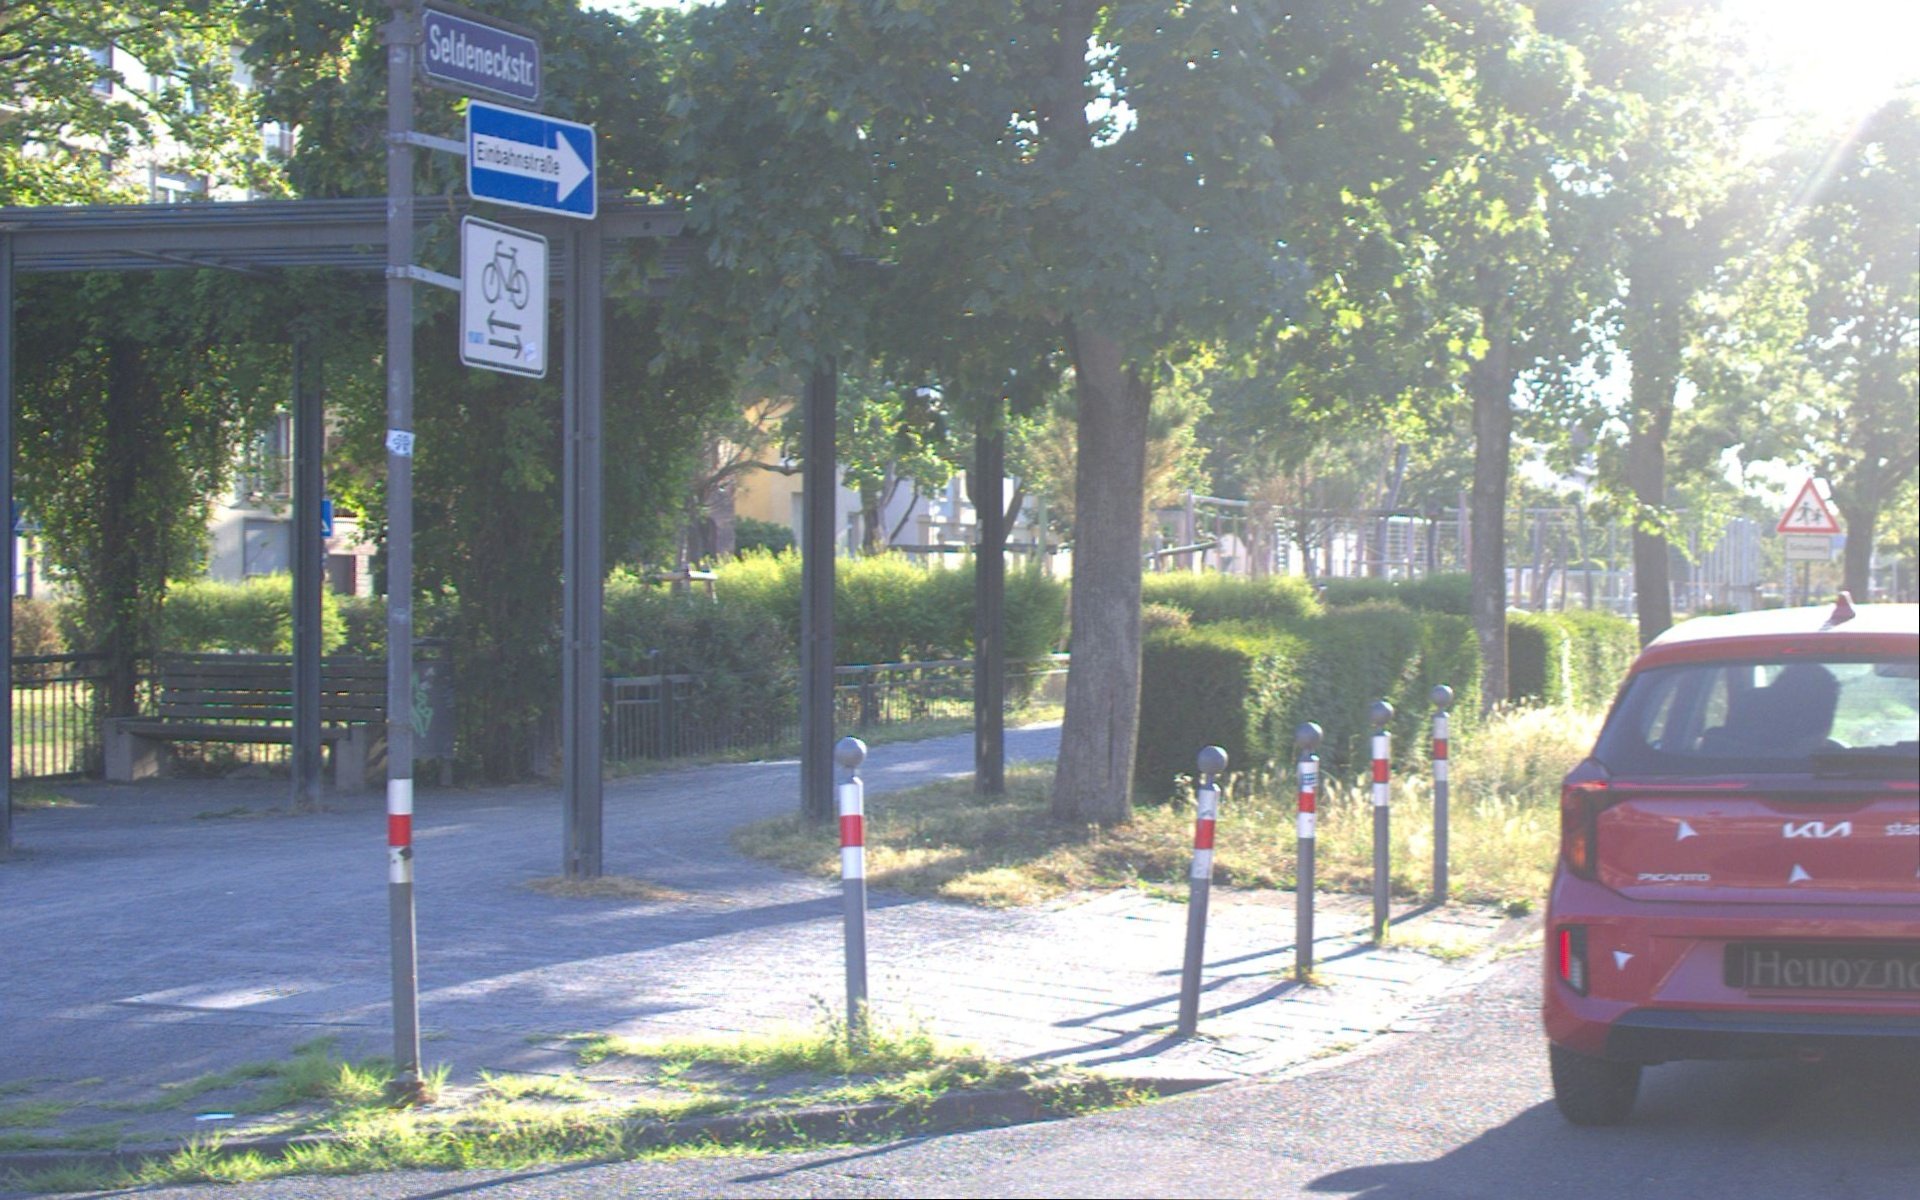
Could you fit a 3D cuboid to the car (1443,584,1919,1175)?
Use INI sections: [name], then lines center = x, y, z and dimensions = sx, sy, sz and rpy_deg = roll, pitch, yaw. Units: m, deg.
[car]
center = 2.898, 0.717, 10.723
dimensions = 1.767, 1.521, 3.768
rpy_deg = -1, 0, 24
